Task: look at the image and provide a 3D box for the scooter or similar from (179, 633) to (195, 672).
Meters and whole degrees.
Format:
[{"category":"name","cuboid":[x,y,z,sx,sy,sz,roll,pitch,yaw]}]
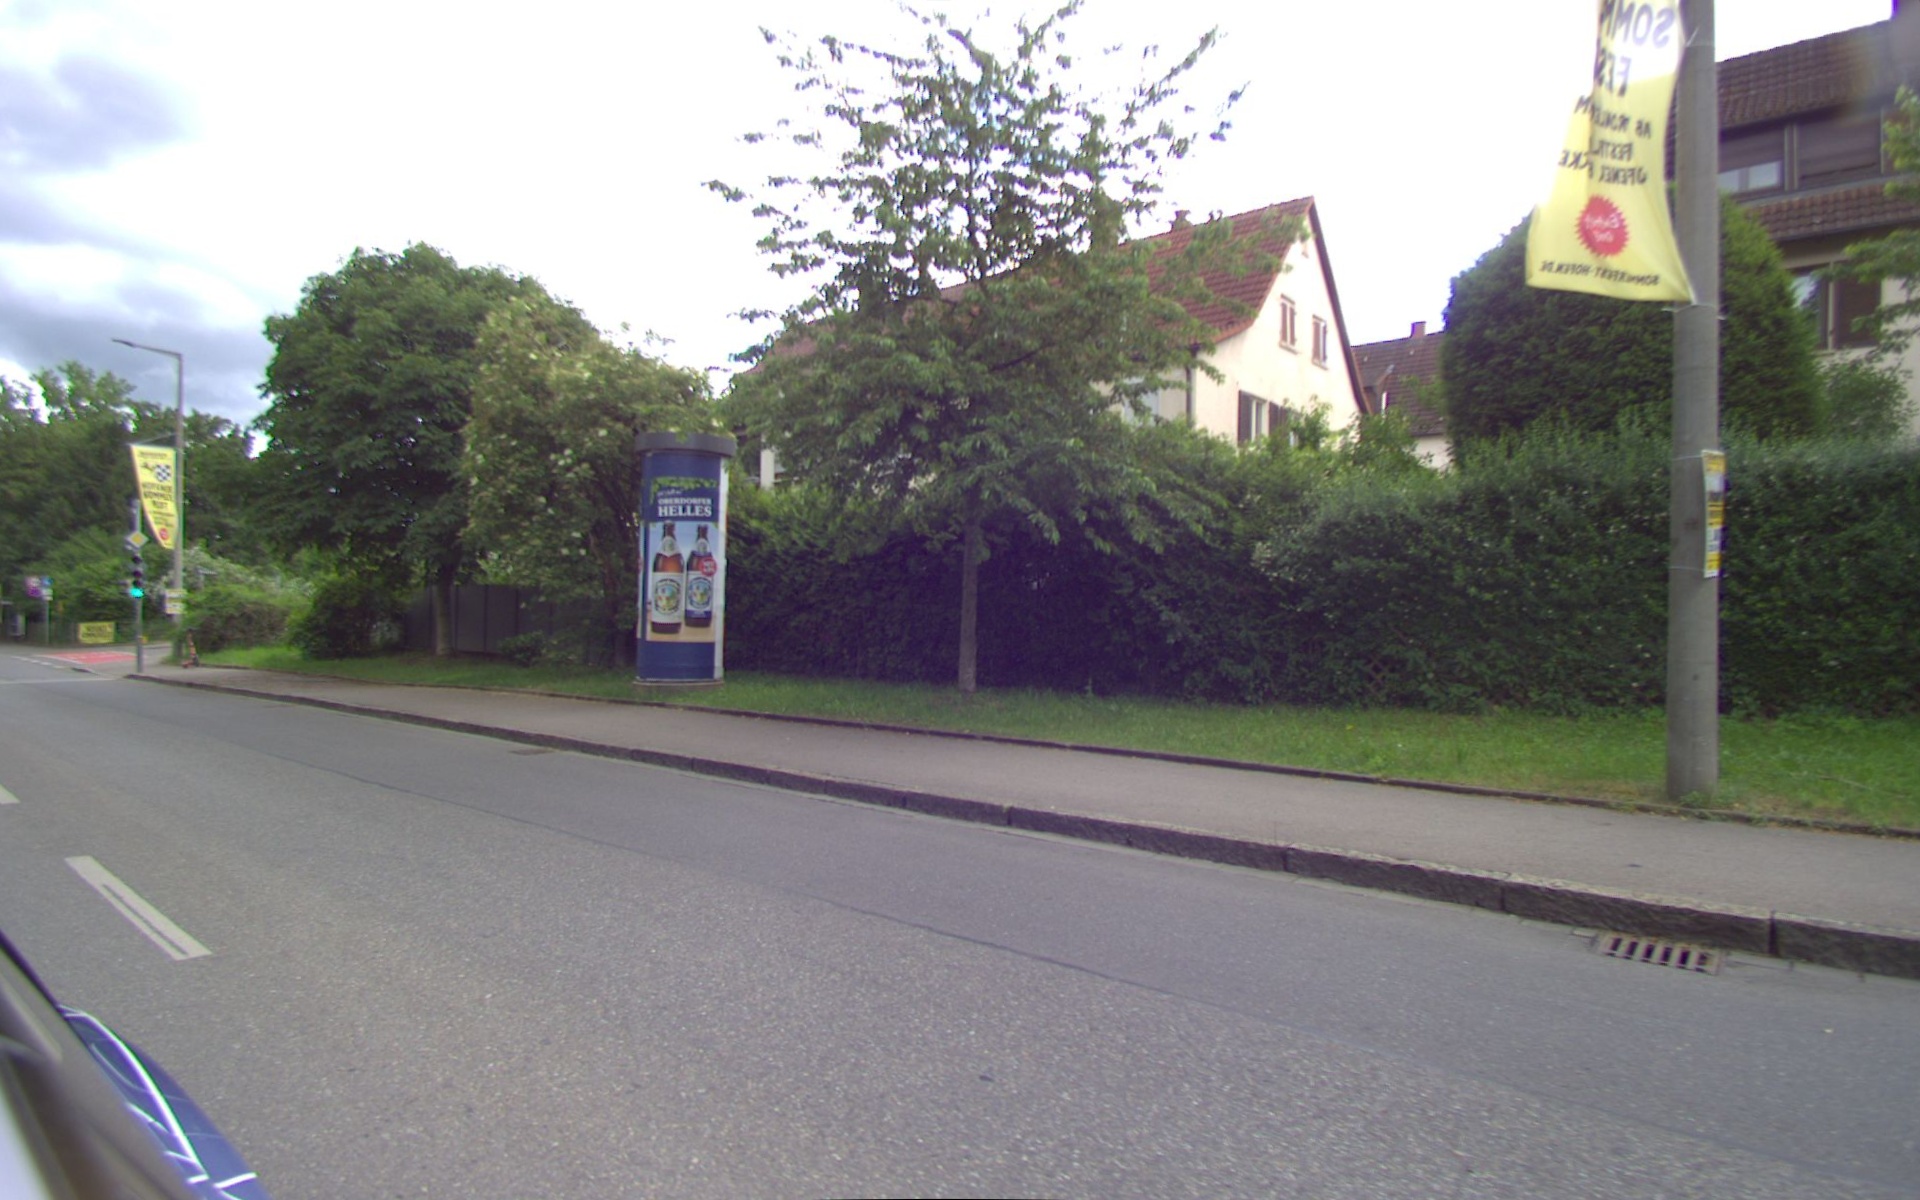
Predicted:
[{"category":"scooter or similar","cuboid":[-24.441,1.651,31.986,0.250,1.225,1.280,0,-1,-45]}]
